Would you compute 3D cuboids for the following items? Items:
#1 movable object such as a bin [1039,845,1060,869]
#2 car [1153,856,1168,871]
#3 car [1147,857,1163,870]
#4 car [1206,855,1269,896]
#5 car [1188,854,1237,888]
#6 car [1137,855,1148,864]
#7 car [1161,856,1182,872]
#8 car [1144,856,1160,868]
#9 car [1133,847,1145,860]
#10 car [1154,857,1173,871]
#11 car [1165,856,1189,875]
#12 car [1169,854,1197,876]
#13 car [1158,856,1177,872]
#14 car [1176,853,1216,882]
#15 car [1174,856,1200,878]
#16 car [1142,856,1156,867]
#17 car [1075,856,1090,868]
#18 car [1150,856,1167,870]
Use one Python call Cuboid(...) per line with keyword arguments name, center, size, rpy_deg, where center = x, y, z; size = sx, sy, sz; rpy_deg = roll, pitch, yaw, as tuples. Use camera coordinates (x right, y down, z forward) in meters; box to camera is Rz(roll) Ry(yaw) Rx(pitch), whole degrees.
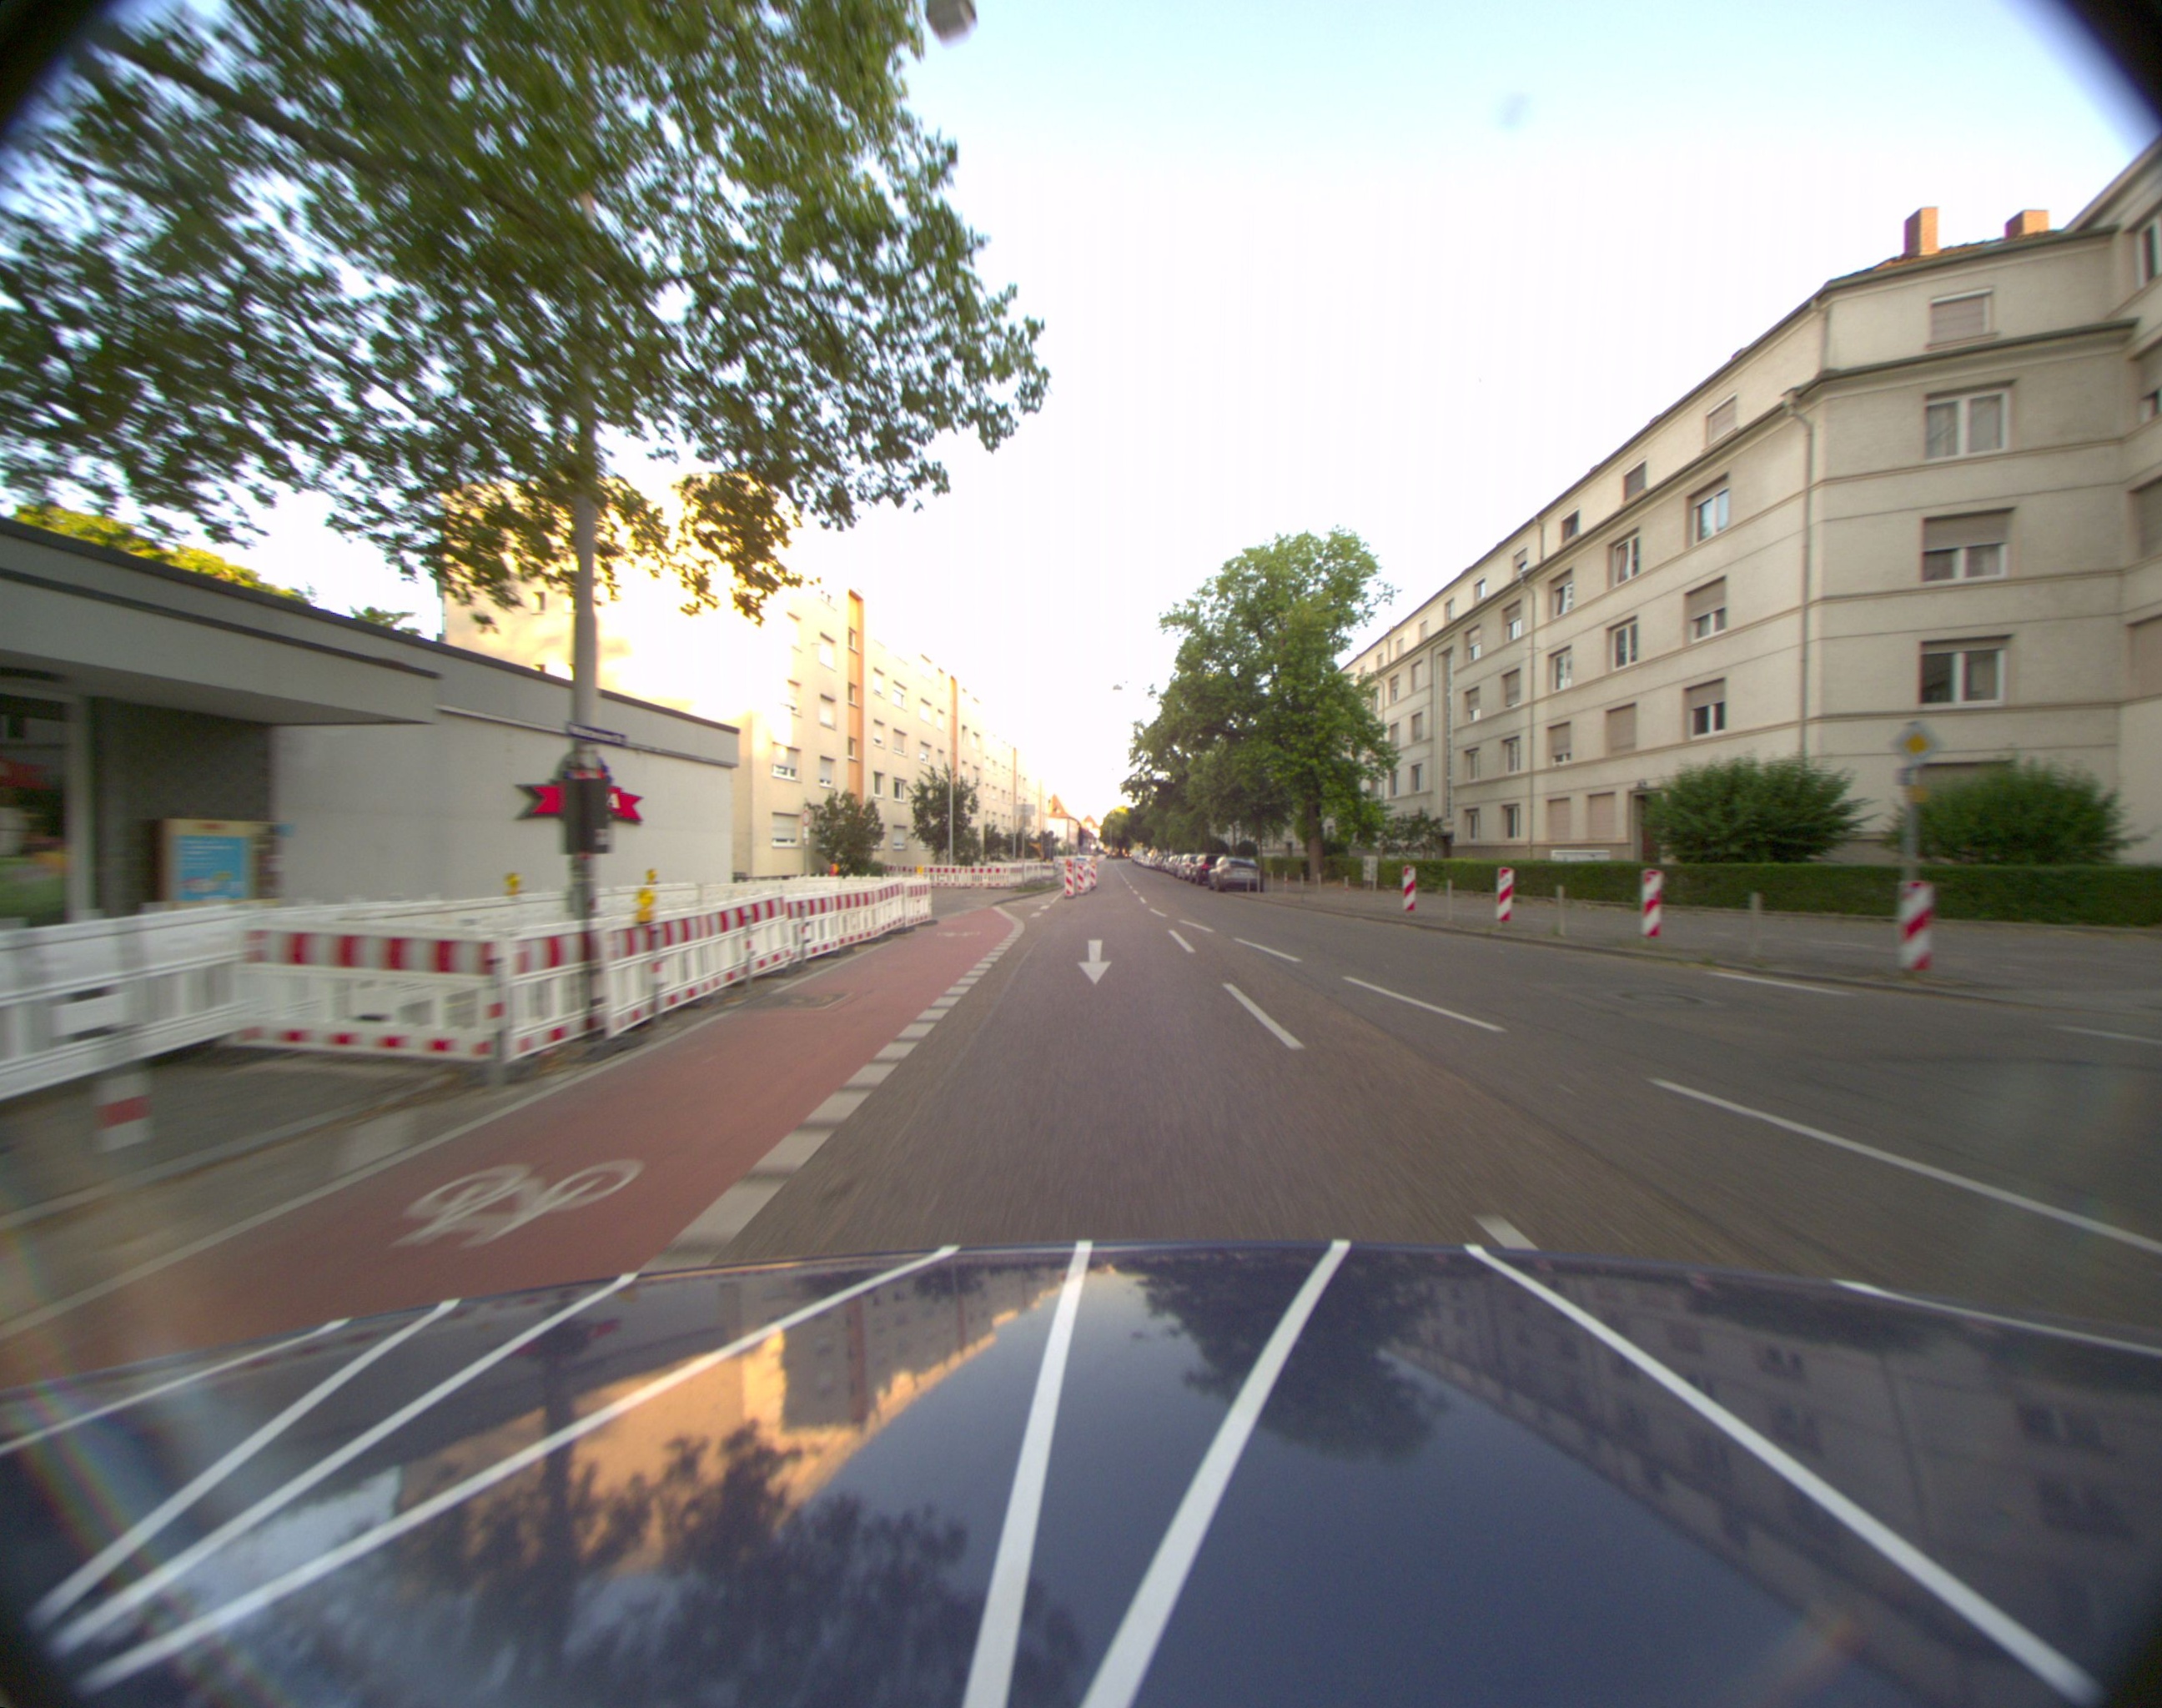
Cuboid(name="movable object such as a bin", center=(-3.604, 0.349, 87.105), size=(1.937, 2.677, 2.893), rpy_deg=(0, 0, 7))
Cuboid(name="car", center=(9.110, 1.065, 86.958), size=(1.593, 1.520, 2.922), rpy_deg=(3, 0, 4))
Cuboid(name="car", center=(9.458, 1.221, 97.544), size=(1.696, 1.451, 4.483), rpy_deg=(3, 0, 2))
Cuboid(name="car", center=(6.913, 0.905, 34.026), size=(1.958, 1.607, 4.605), rpy_deg=(2, 0, 2))
Cuboid(name="car", center=(7.212, 0.872, 42.052), size=(1.958, 1.709, 4.771), rpy_deg=(2, 0, 2))
Cuboid(name="car", center=(10.691, 0.981, 132.521), size=(1.756, 1.463, 4.225), rpy_deg=(3, 0, 3))
Cuboid(name="car", center=(8.798, 0.956, 73.998), size=(1.594, 1.396, 4.181), rpy_deg=(3, 0, 2))
Cuboid(name="car", center=(9.565, 1.107, 102.399), size=(1.696, 1.451, 4.145), rpy_deg=(3, 0, 0))
Cuboid(name="car", center=(11.586, -0.021, 151.780), size=(2.184, 2.447, 6.104), rpy_deg=(3, 0, 2))
Cuboid(name="car", center=(8.942, 1.066, 82.261), size=(1.594, 1.458, 4.102), rpy_deg=(3, 0, 0))
Cuboid(name="car", center=(8.638, 1.005, 68.661), size=(1.594, 1.530, 4.206), rpy_deg=(3, 0, 0))
Cuboid(name="car", center=(7.999, 0.840, 59.864), size=(1.711, 1.591, 4.117), rpy_deg=(3, 0, 2))
Cuboid(name="car", center=(8.856, 1.001, 78.217), size=(1.526, 1.520, 3.164), rpy_deg=(3, 0, 1))
Cuboid(name="car", center=(7.390, 0.835, 49.302), size=(1.851, 1.681, 4.859), rpy_deg=(2, 0, 0))
Cuboid(name="car", center=(7.638, 0.900, 54.955), size=(1.736, 1.488, 4.272), rpy_deg=(2, 0, 6))
Cuboid(name="car", center=(10.046, 1.093, 112.223), size=(1.678, 1.451, 3.705), rpy_deg=(3, 0, 0))
Cuboid(name="car", center=(0.225, 1.134, 106.166), size=(1.780, 1.482, 4.574), rpy_deg=(4, 0, 3))
Cuboid(name="car", center=(9.284, 1.065, 91.249), size=(1.594, 1.496, 3.800), rpy_deg=(3, 0, 2))
